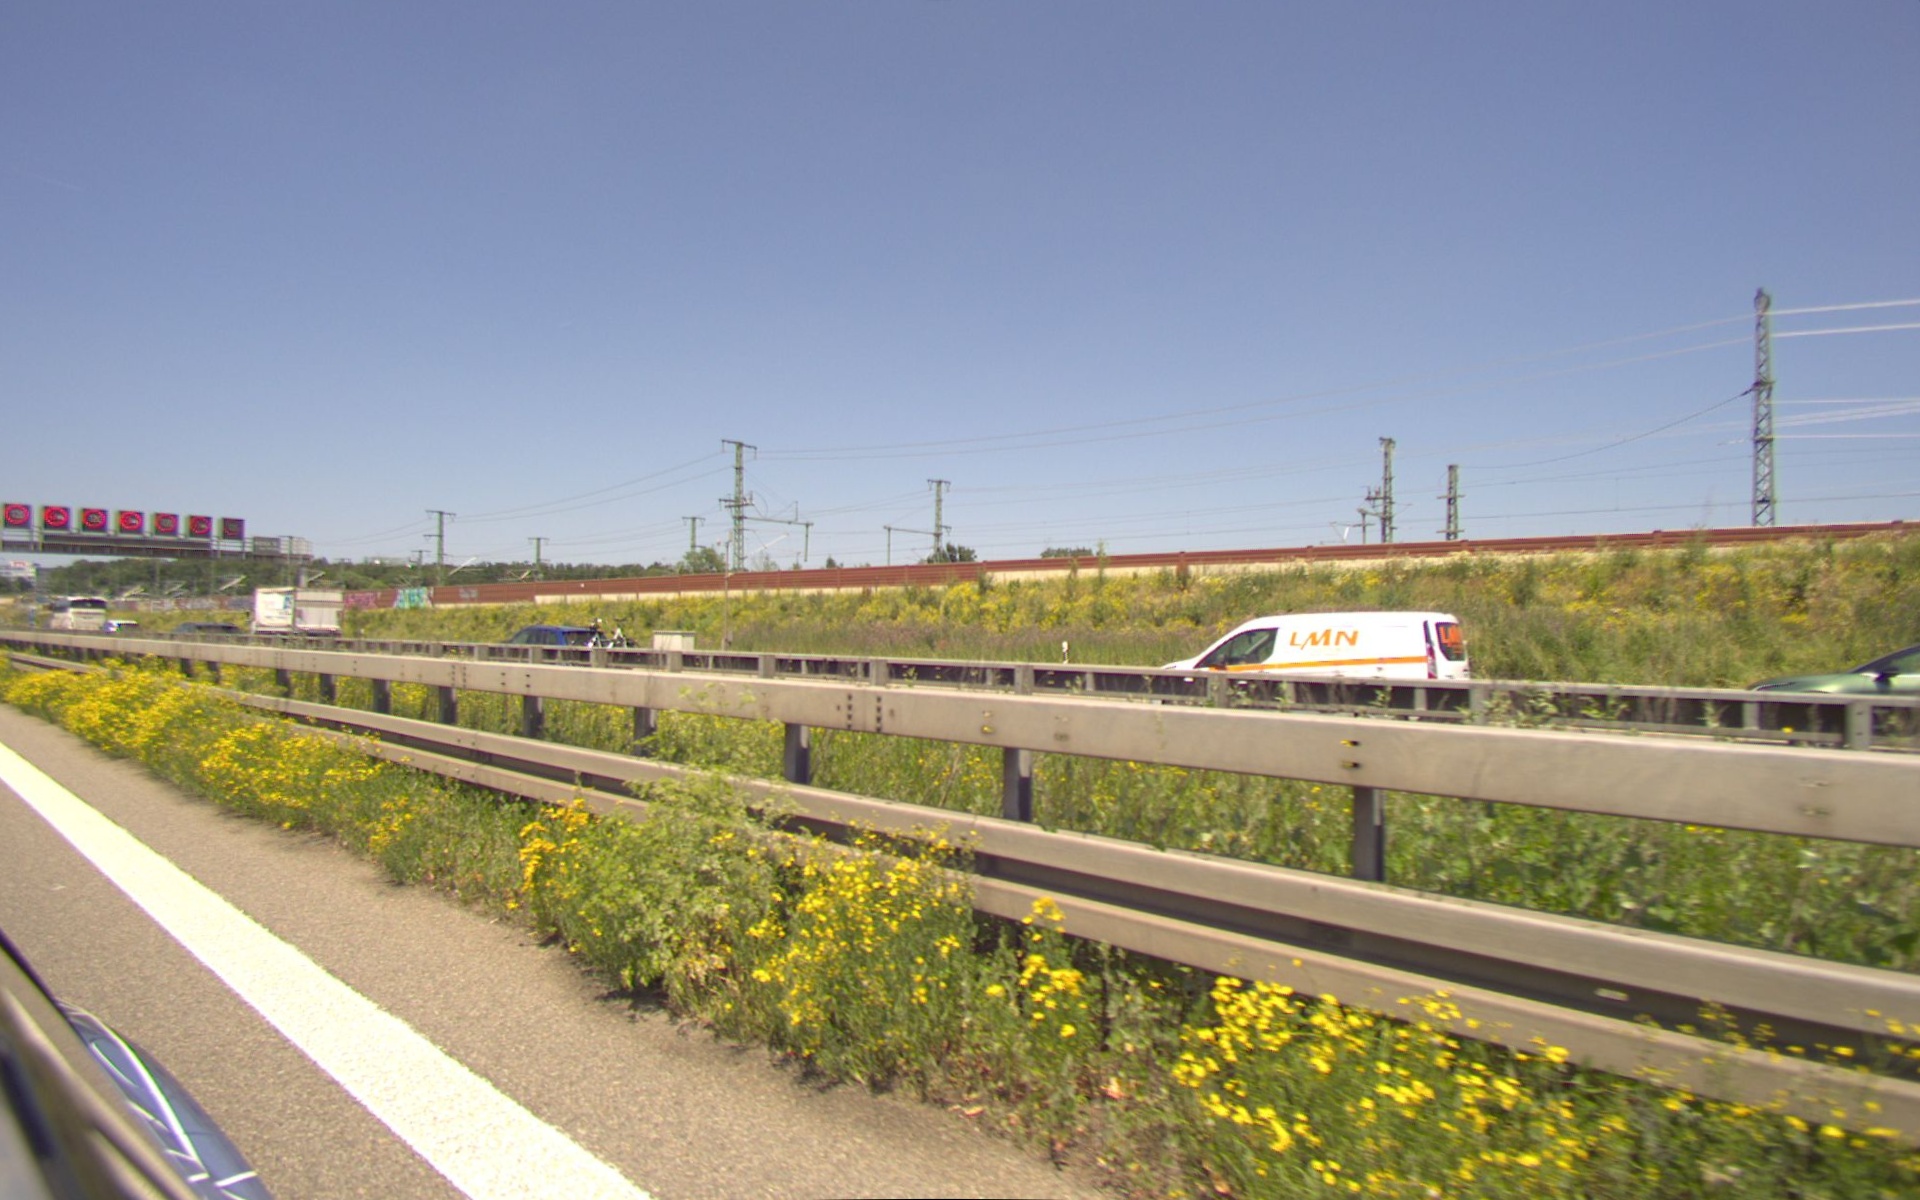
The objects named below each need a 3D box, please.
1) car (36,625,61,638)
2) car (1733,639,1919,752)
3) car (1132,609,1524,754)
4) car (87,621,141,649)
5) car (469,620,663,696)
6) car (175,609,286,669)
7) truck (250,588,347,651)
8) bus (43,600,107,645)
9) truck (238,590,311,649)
[{"bbox_3d":[-105.458,3.660,117.056,3.998,1.485,1.674,-1,-4,42],"label":"car"},{"bbox_3d":[13.263,1.270,13.494,4.582,1.428,1.900,-1,-3,42],"label":"car"},{"bbox_3d":[5.322,1.100,15.172,5.194,1.814,1.900,-1,-3,42],"label":"car"},{"bbox_3d":[-50.967,2.116,60.954,3.998,1.623,1.900,-1,-3,42],"label":"car"},{"bbox_3d":[-9.411,1.309,23.924,5.392,1.623,1.900,-1,-3,40],"label":"car"},{"bbox_3d":[-22.630,1.164,31.340,3.998,1.733,1.972,-1,-1,42],"label":"car"},{"bbox_3d":[-39.295,1.136,60.004,7.777,3.493,2.828,-1,0,42],"label":"truck"},{"bbox_3d":[-79.040,2.006,90.267,10.935,3.673,2.827,-1,0,41],"label":"bus"},{"bbox_3d":[-42.685,1.212,63.026,4.021,3.493,2.818,-1,0,41],"label":"truck"}]
